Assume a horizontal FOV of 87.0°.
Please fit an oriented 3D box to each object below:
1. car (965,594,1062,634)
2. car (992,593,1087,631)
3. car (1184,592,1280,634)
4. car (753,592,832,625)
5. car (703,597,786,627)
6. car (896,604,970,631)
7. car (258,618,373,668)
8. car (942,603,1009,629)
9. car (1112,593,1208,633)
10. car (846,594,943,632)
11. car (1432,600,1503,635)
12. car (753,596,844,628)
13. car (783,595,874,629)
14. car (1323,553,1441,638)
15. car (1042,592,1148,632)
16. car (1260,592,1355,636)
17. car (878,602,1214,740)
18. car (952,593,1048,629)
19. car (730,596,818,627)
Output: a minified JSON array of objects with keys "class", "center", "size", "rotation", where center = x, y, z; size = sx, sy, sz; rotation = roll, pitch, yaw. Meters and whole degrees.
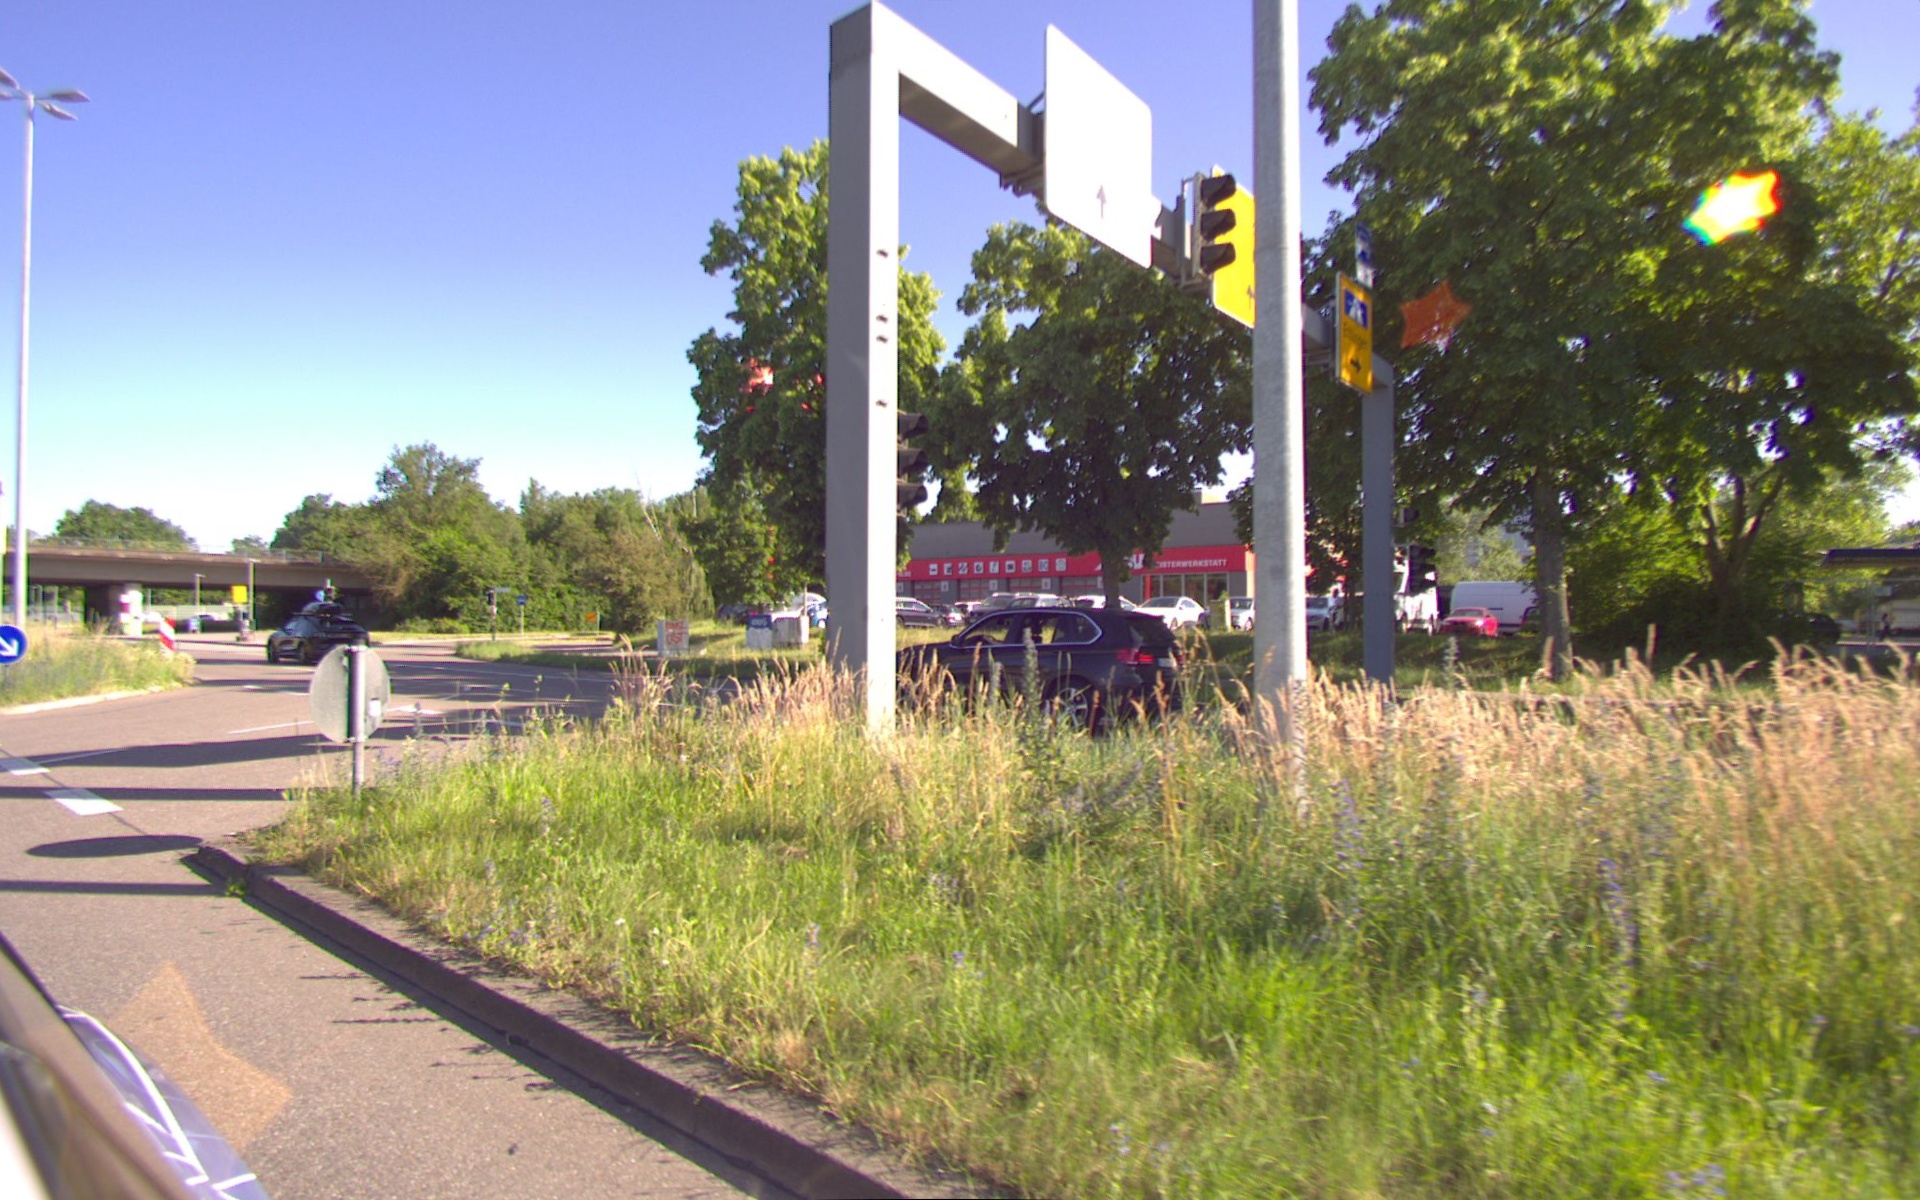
[{"class":"car","center":[2.716,0.743,52.669],"size":[5.130,1.971,1.760],"rotation":[-1,-2,43]},{"class":"car","center":[3.177,0.499,39.773],"size":[1.943,1.399,4.081],"rotation":[-1,-2,36]},{"class":"car","center":[9.626,0.492,35.630],"size":[1.942,1.399,4.081],"rotation":[-1,-2,36]},{"class":"car","center":[-11.328,0.596,68.618],"size":[4.987,2.168,1.891],"rotation":[0,-1,8]},{"class":"car","center":[-11.794,0.670,55.458],"size":[4.060,1.563,1.901],"rotation":[1,-2,-29]},{"class":"car","center":[-1.547,0.990,56.140],"size":[3.982,1.466,1.761],"rotation":[-1,-2,41]},{"class":"car","center":[-21.274,1.384,33.334],"size":[4.568,1.554,1.857],"rotation":[-1,-3,40]},{"class":"car","center":[0.949,0.963,59.322],"size":[1.893,1.466,4.078],"rotation":[-1,-2,39]},{"class":"car","center":[7.348,0.498,36.870],"size":[1.942,1.399,4.081],"rotation":[-1,-2,36]},{"class":"car","center":[-2.851,0.591,44.543],"size":[1.946,1.563,4.074],"rotation":[-1,-2,42]},{"class":"car","center":[22.706,0.795,45.215],"size":[1.895,1.466,4.074],"rotation":[-1,-2,41]},{"class":"car","center":[-8.000,0.625,50.368],"size":[4.066,1.563,1.899],"rotation":[1,-2,-40]},{"class":"car","center":[-6.291,0.593,48.707],"size":[1.819,1.563,4.072],"rotation":[-1,-2,44]},{"class":"car","center":[13.510,-0.059,32.171],"size":[2.202,2.452,5.825],"rotation":[-1,-2,36]},{"class":"car","center":[5.215,0.488,38.657],"size":[1.945,1.399,4.573],"rotation":[-1,-2,39]},{"class":"car","center":[11.781,0.488,34.147],"size":[1.942,1.399,4.081],"rotation":[-1,-2,36]},{"class":"car","center":[1.148,0.956,14.763],"size":[4.625,1.710,1.923],"rotation":[-1,-3,39]},{"class":"car","center":[1.706,0.499,41.604],"size":[1.944,1.399,4.078],"rotation":[-1,-2,38]},{"class":"car","center":[-9.586,0.629,52.235],"size":[4.065,1.563,1.899],"rotation":[1,-2,-38]}]
